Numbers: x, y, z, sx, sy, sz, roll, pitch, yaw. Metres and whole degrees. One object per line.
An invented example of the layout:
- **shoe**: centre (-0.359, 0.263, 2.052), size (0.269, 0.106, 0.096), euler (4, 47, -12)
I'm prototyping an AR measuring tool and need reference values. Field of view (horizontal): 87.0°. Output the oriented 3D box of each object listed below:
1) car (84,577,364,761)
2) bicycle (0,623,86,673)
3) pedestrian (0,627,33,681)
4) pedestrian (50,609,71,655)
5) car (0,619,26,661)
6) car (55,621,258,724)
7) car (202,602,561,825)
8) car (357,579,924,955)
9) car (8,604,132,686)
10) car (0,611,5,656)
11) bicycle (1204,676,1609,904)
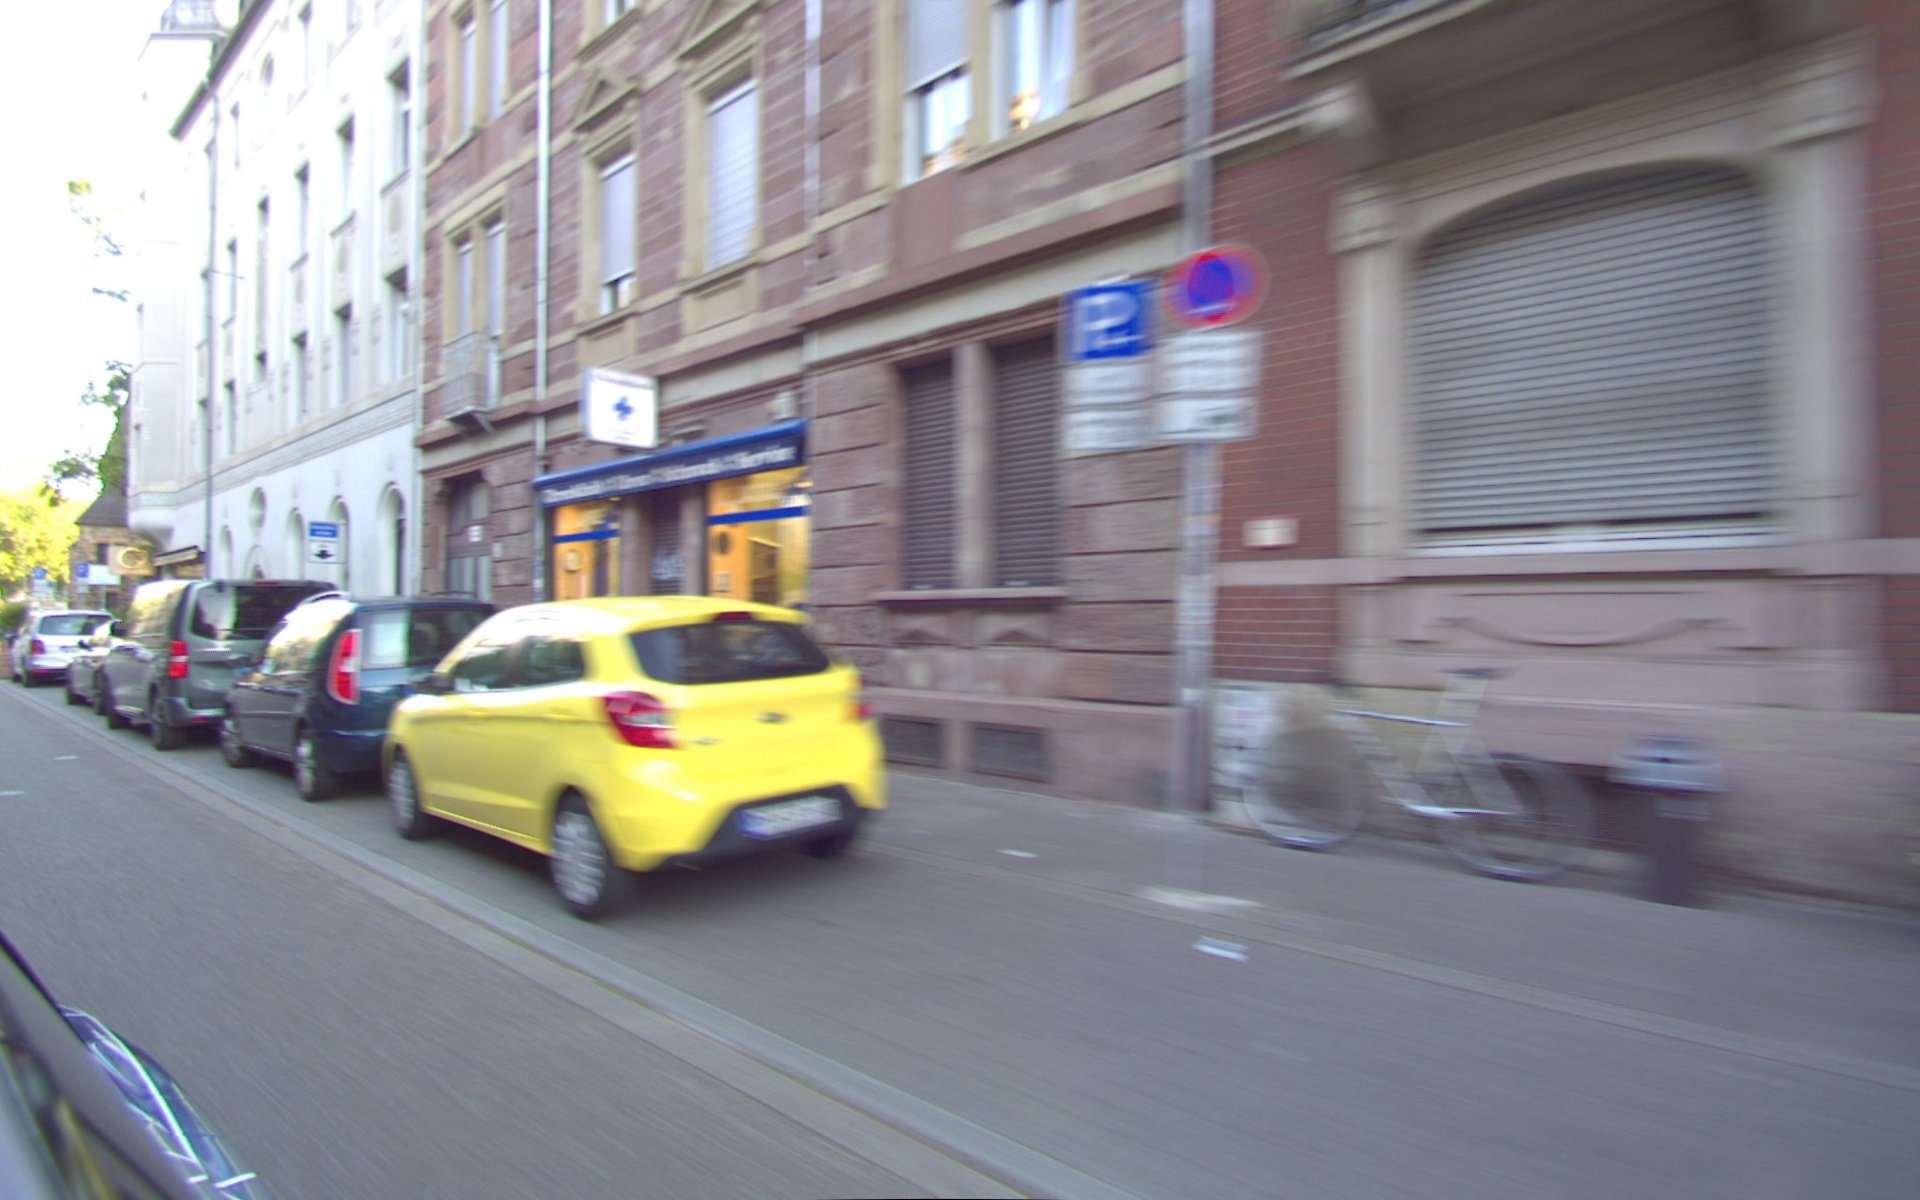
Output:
- **car**: centre (-9.465, 0.758, 12.847), size (4.904, 1.897, 1.907), euler (-1, -1, 42)
- **bicycle**: centre (-27.565, 1.411, 29.912), size (2.580, 1.409, 0.603), euler (-1, 0, -35)
- **pedestrian**: centre (-23.916, 1.361, 25.646), size (0.496, 1.333, 0.564), euler (-1, 0, 42)
- **pedestrian**: centre (-34.567, 1.234, 38.892), size (0.562, 1.746, 0.559), euler (-1, 0, 42)
- **car**: centre (-38.802, 1.580, 40.586), size (4.001, 1.558, 1.761), euler (0, 0, 44)
- **car**: centre (-13.266, 1.081, 16.607), size (4.480, 1.441, 1.907), euler (-1, -1, 42)
- **car**: centre (-5.508, 0.861, 9.421), size (3.971, 1.608, 1.905), euler (-1, -1, 44)
- **car**: centre (-2.127, 0.721, 6.105), size (3.794, 1.541, 1.686), euler (-1, -1, 44)
- **car**: centre (-20.016, 0.955, 22.707), size (3.916, 1.660, 1.707), euler (-1, 0, 43)
- **car**: centre (-42.647, 1.441, 43.763), size (4.459, 1.885, 1.761), euler (0, 0, 44)
- **bicycle**: centre (2.325, 0.946, 5.501), size (1.993, 0.952, 0.353), euler (0, 0, 40)
